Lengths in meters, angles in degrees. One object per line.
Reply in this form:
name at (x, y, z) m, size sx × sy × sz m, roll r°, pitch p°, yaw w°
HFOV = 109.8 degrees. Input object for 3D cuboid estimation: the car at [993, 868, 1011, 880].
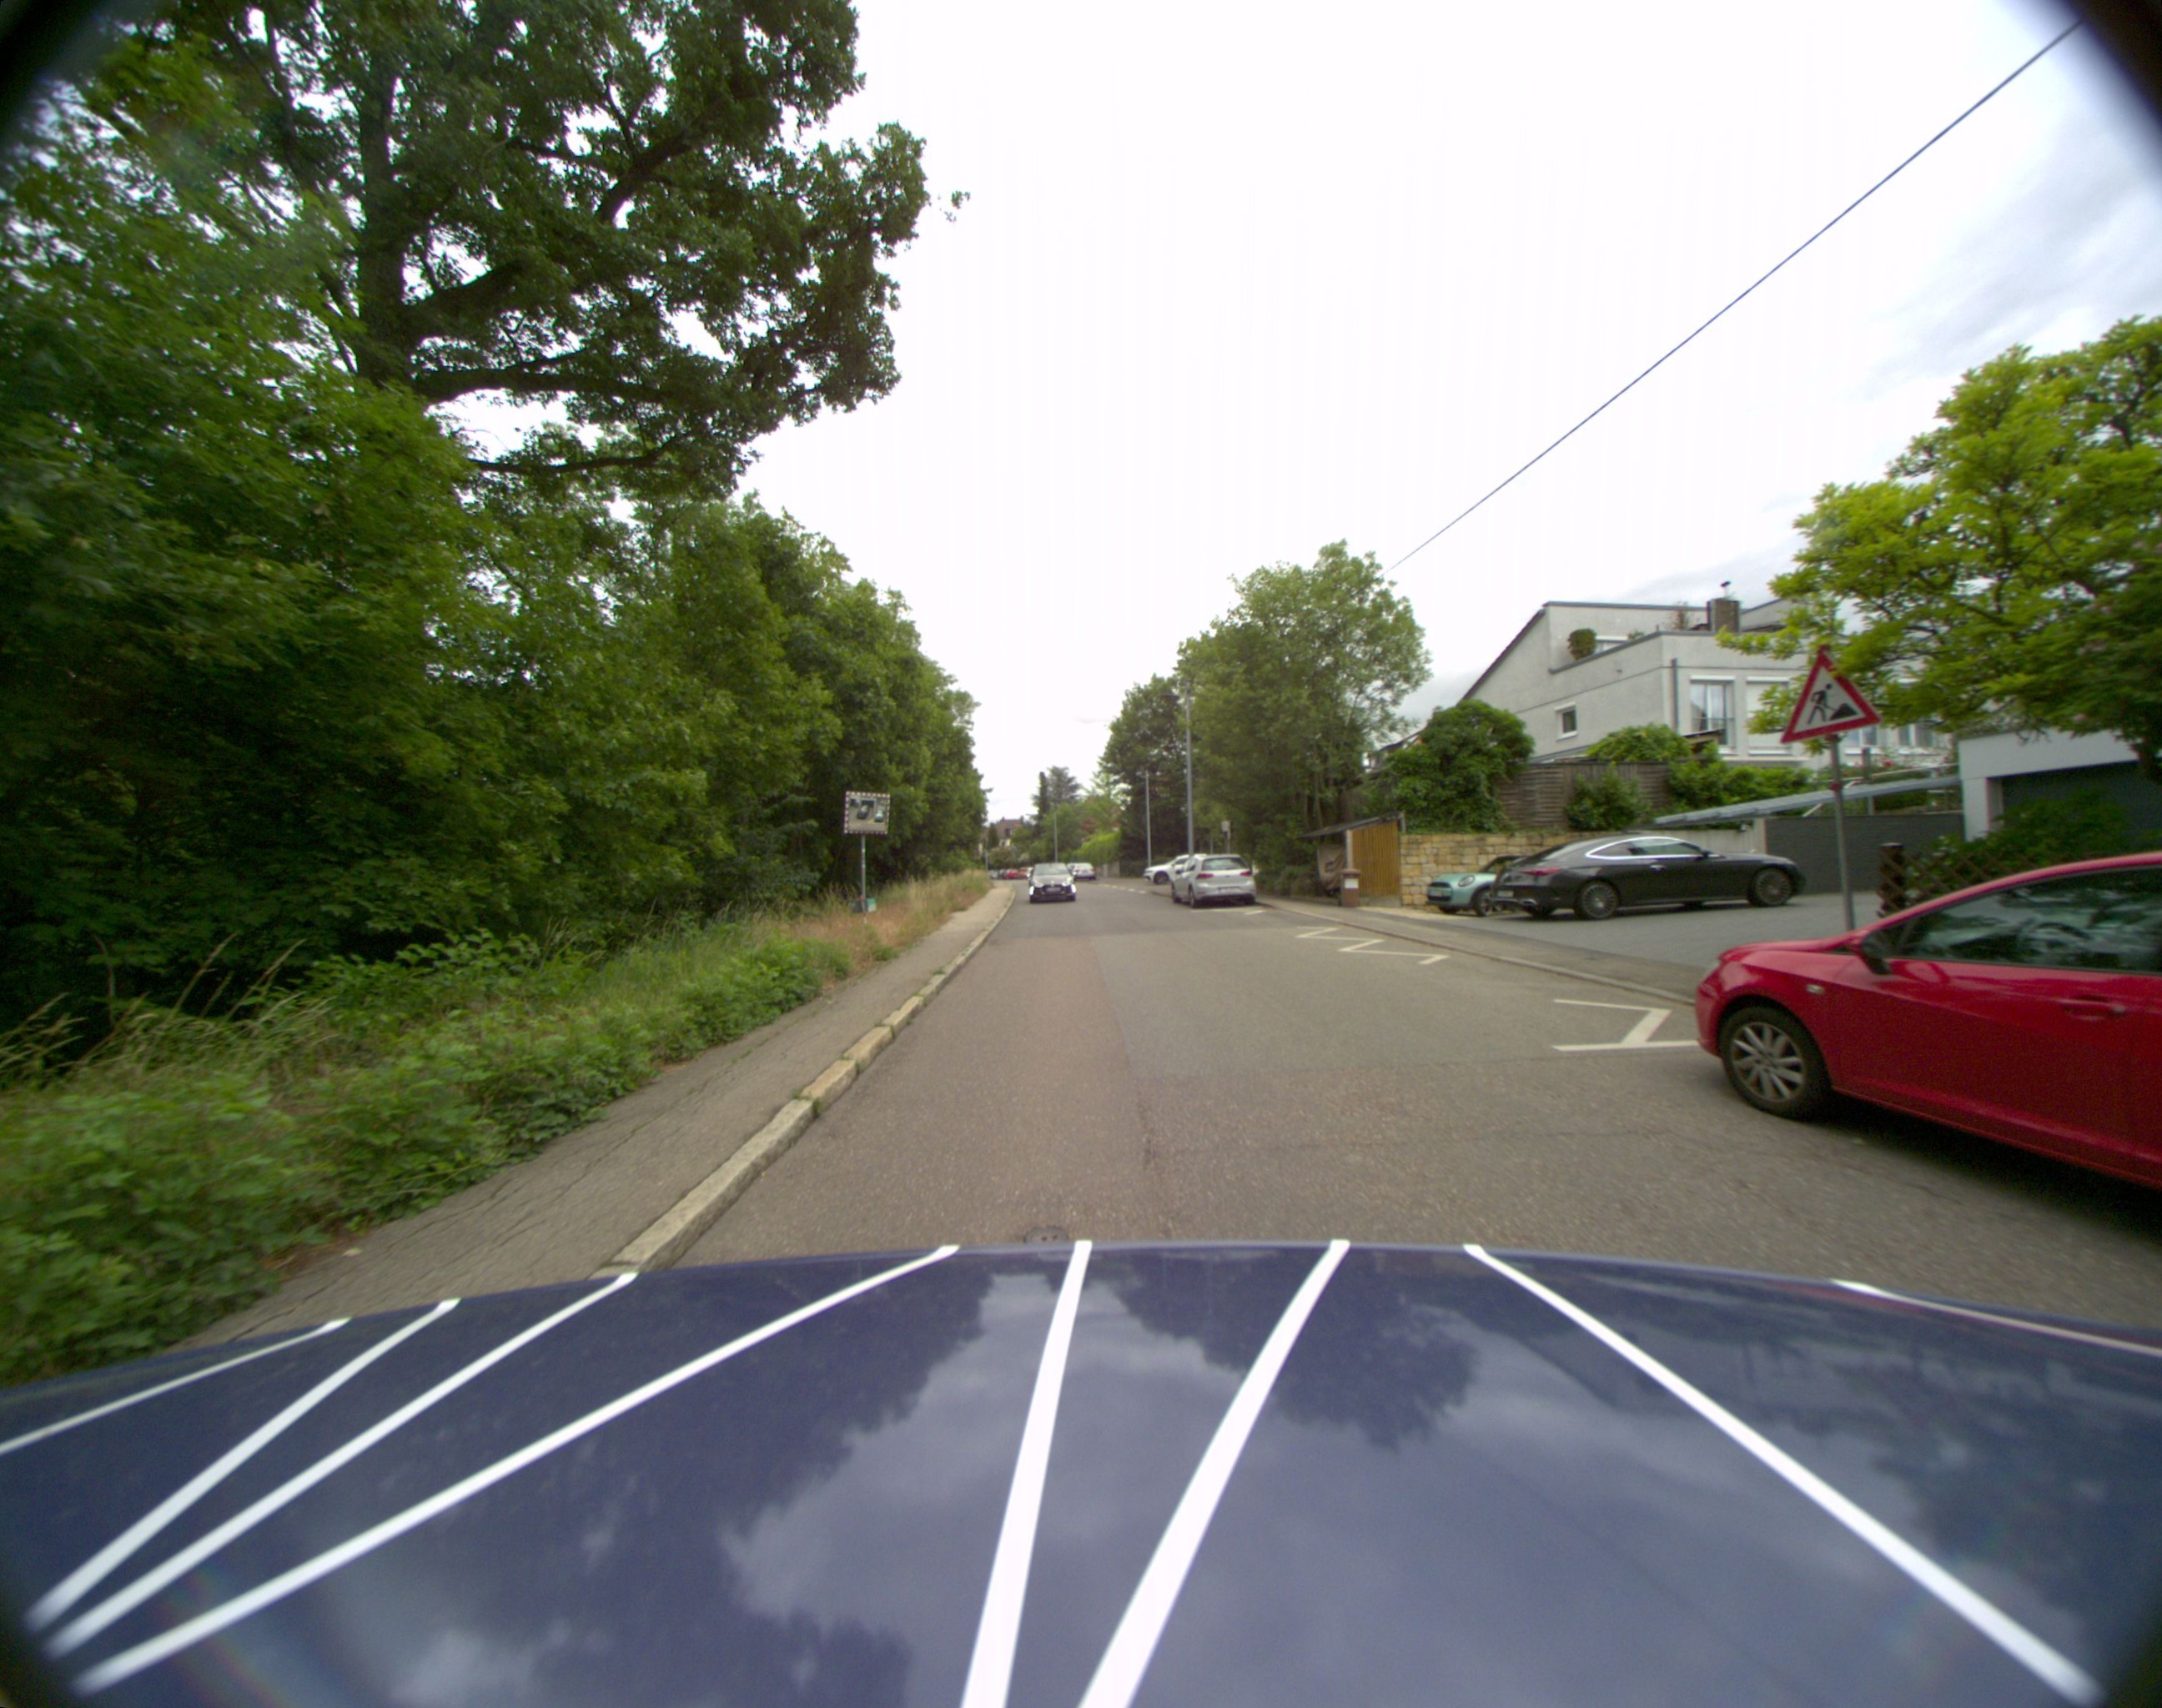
car at (-12.118, 2.964, 115.933) m, size 2.001 × 1.678 × 4.705 m, roll -2°, pitch 0°, yaw -15°

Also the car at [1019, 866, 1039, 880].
car at (-6.732, 2.387, 98.142) m, size 1.801 × 1.678 × 3.495 m, roll -2°, pitch 0°, yaw -16°

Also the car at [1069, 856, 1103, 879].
car at (0.351, 1.035, 59.826) m, size 2.000 × 1.678 × 4.707 m, roll -2°, pitch 0°, yaw -7°

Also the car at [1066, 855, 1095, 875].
car at (-0.086, 0.943, 68.093) m, size 2.000 × 1.678 × 4.707 m, roll -2°, pitch 0°, yaw -8°

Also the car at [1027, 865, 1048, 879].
car at (-5.422, 2.188, 94.160) m, size 1.801 × 1.678 × 3.495 m, roll -2°, pitch 0°, yaw -16°

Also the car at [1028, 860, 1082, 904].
car at (-0.929, 1.027, 29.296) m, size 1.788 × 1.491 × 4.015 m, roll -3°, pitch 0°, yaw 2°

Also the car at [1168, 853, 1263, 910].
car at (3.810, 0.737, 22.195) m, size 1.765 × 1.441 × 4.042 m, roll -2°, pitch 0°, yaw -4°

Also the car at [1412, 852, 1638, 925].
car at (9.788, 0.750, 16.973) m, size 3.964 × 1.378 × 1.822 m, roll 2°, pitch -1°, yaw -2°

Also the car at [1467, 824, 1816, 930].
car at (9.624, 0.397, 13.366) m, size 4.617 × 1.378 × 1.891 m, roll -5°, pitch -1°, yaw 2°

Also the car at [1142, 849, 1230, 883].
car at (6.005, 0.679, 43.932) m, size 4.707 × 1.678 × 2.000 m, roll -2°, pitch 0°, yaw -1°

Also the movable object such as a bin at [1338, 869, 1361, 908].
movable object such as a bin at (6.530, 0.830, 18.465) m, size 0.367 × 0.919 × 0.556 m, roll 1°, pitch 1°, yaw 3°

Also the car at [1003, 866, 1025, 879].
car at (-9.381, 2.543, 106.231) m, size 2.001 × 1.678 × 4.704 m, roll -2°, pitch 0°, yaw -17°

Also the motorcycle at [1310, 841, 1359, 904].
motorcycle at (6.651, 0.462, 20.049) m, size 0.484 × 1.573 × 1.912 m, roll -2°, pitch 0°, yaw -4°

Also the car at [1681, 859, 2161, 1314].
car at (4.415, 0.771, 2.572) m, size 1.741 × 1.431 × 3.787 m, roll -2°, pitch 0°, yaw 0°

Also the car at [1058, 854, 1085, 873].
car at (-0.936, 0.892, 74.124) m, size 2.000 × 1.678 × 4.707 m, roll -2°, pitch 0°, yaw -8°
